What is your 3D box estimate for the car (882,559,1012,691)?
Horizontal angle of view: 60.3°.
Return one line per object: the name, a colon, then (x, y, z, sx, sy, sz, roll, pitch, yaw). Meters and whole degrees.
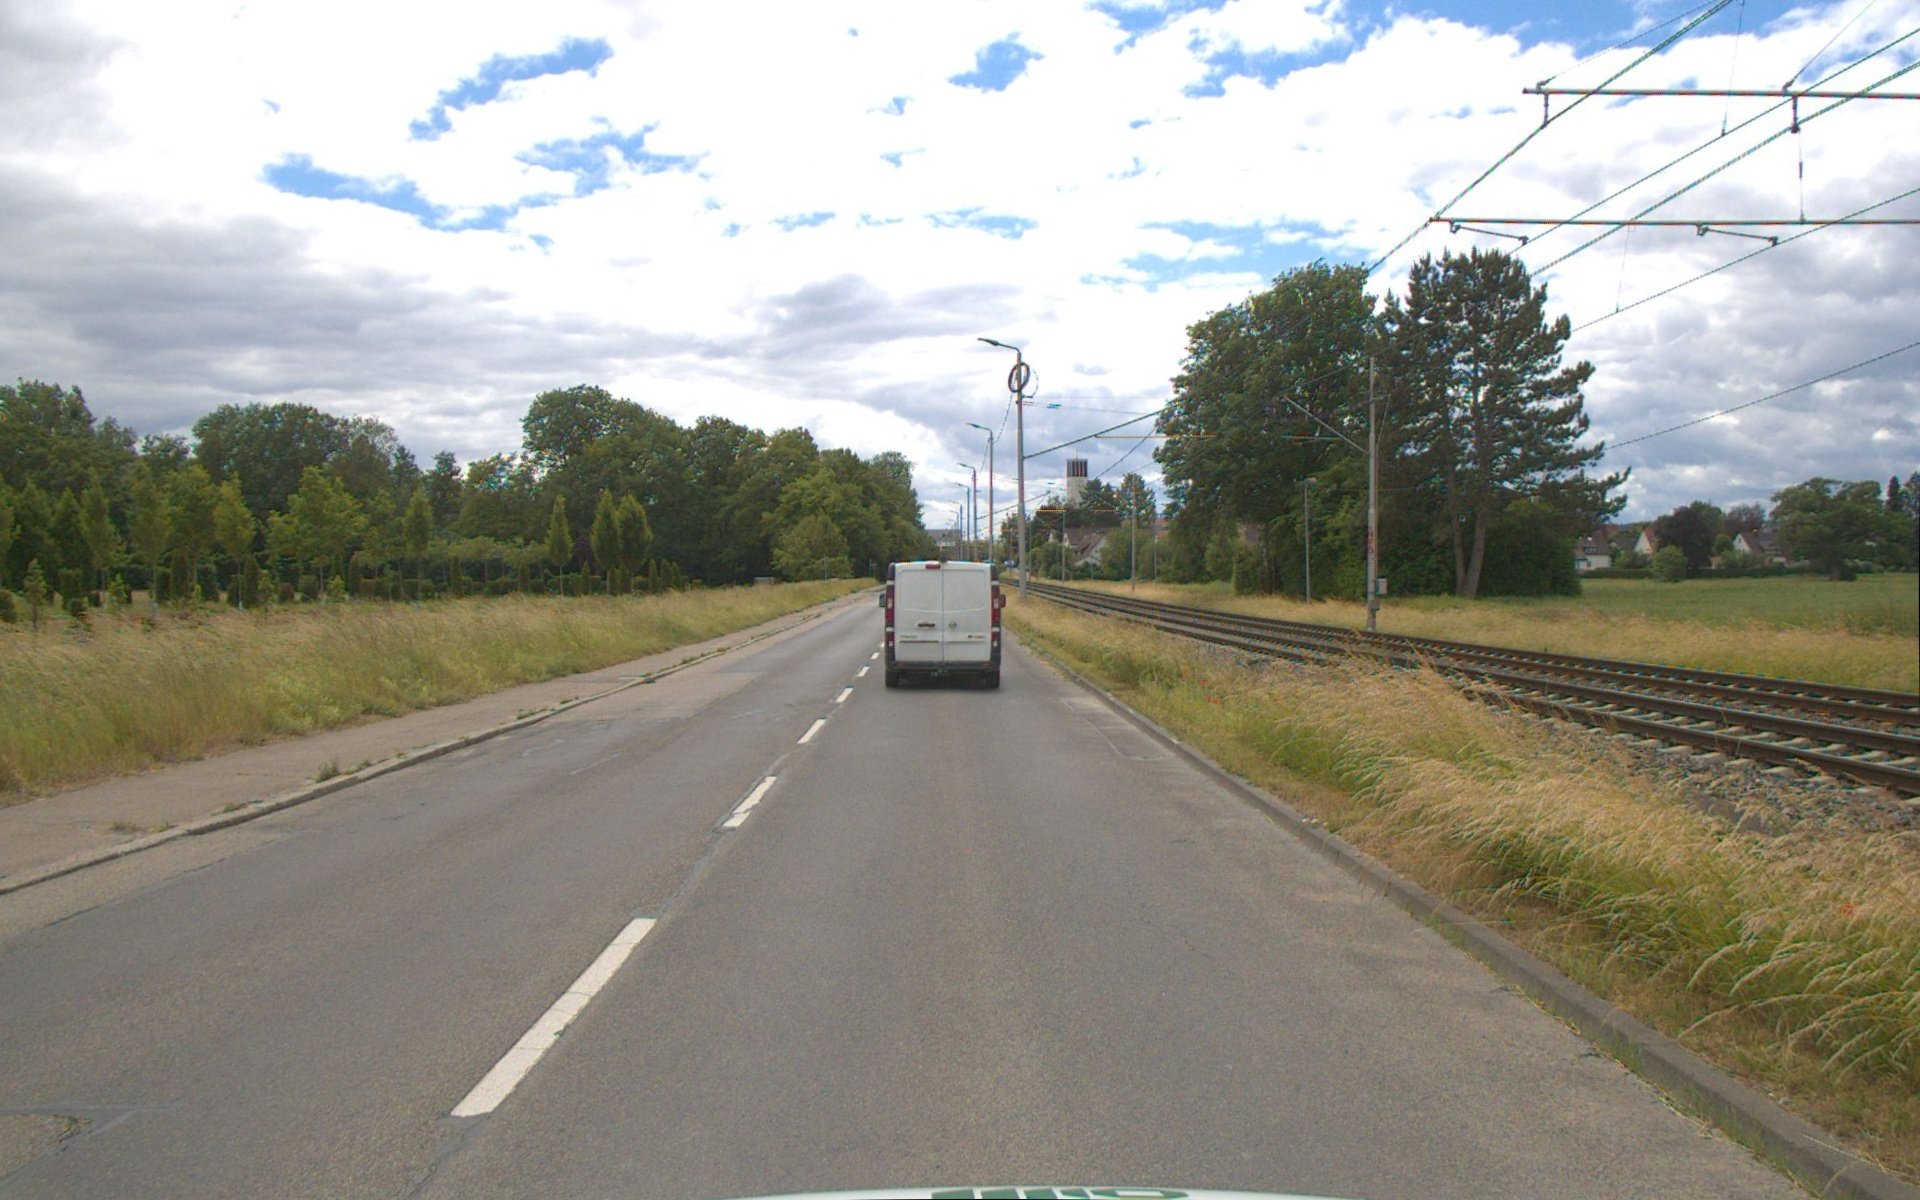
car: (-0.258, 0.360, 27.088, 1.953, 1.991, 3.999, -1, 0, -2)
